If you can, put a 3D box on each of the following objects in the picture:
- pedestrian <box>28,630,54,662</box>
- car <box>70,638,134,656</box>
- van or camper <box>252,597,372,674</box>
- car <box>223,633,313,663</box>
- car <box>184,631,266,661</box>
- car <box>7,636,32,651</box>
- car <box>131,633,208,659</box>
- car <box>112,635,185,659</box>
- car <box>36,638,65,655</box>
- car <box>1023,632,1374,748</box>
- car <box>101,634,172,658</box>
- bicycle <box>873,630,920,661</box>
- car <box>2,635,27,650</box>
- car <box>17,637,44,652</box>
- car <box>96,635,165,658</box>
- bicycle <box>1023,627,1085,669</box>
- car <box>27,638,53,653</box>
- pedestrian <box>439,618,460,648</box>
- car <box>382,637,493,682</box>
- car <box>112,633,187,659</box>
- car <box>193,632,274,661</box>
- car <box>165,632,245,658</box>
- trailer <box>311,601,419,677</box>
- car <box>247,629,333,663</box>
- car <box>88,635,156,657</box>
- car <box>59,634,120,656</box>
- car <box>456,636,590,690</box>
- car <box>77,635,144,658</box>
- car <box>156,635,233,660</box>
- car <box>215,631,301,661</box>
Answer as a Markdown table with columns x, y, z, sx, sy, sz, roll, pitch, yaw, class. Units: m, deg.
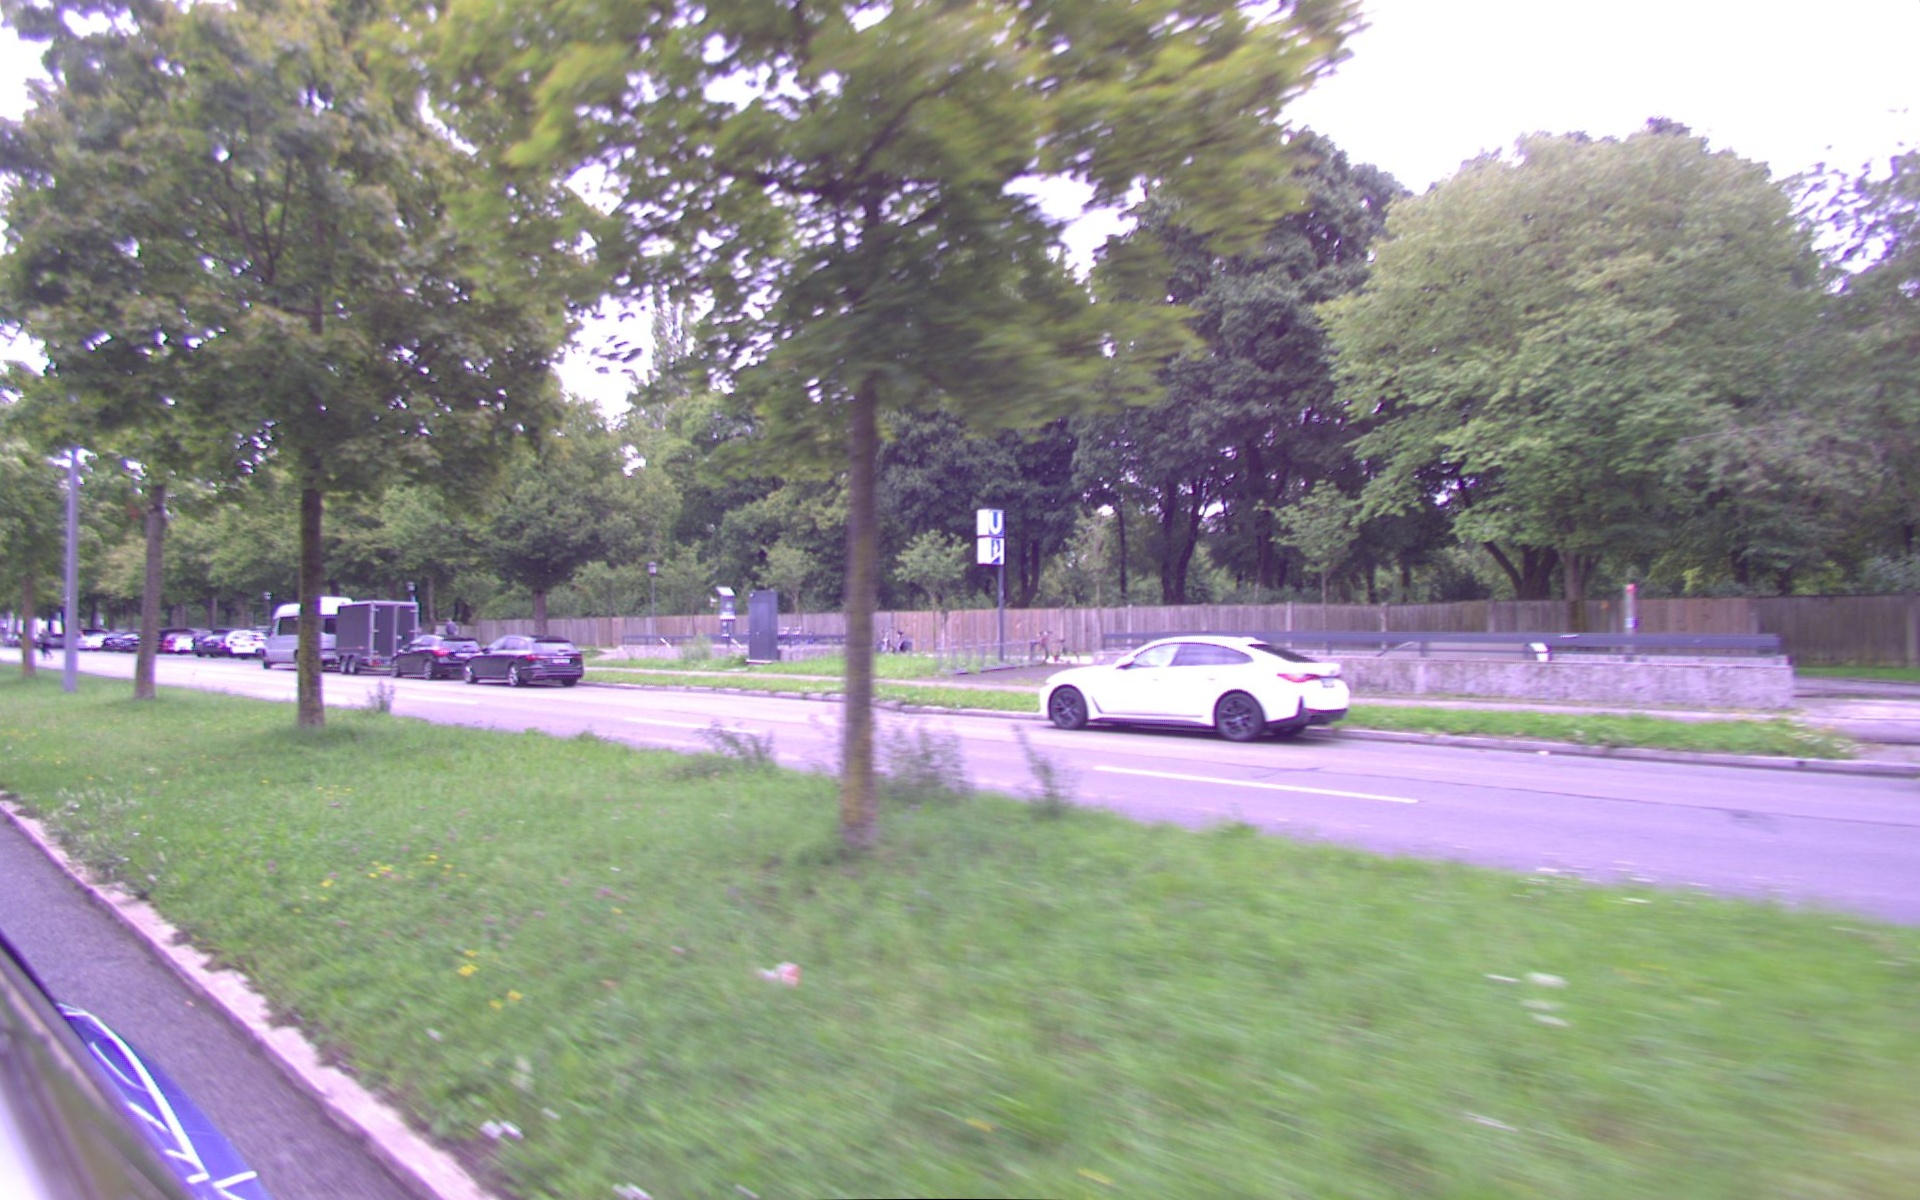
| x | y | z | sx | sy | sz | roll | pitch | yaw | class |
| --- | --- | --- | --- | --- | --- | --- | --- | --- | --- |
| -50.135 | 2.503 | 55.206 | 0.859 | 1.711 | 0.773 | 1 | -2 | -29 | pedestrian |
| -71.676 | 3.925 | 84.626 | 1.574 | 1.376 | 3.987 | -1 | 0 | 10 | car |
| -26.321 | 1.474 | 40.959 | 7.542 | 2.859 | 2.014 | -2 | -4 | 41 | van or camper |
| -38.619 | 2.641 | 56.583 | 1.780 | 1.449 | 4.316 | -1 | 0 | 6 | car |
| -45.784 | 2.861 | 63.130 | 1.783 | 1.599 | 3.985 | -2 | 0 | 12 | car |
| -101.039 | 4.657 | 108.711 | 4.171 | 1.454 | 1.864 | -1 | -1 | 45 | car |
| -55.290 | 3.219 | 70.864 | 1.873 | 1.569 | 3.984 | -2 | 0 | 13 | car |
| -60.015 | 3.452 | 74.901 | 1.870 | 1.569 | 3.990 | -2 | 0 | 8 | car |
| -85.802 | 4.331 | 95.449 | 4.171 | 1.454 | 1.864 | -1 | -1 | 45 | car |
| 3.440 | 1.258 | 15.282 | 4.871 | 1.484 | 1.838 | -2 | -4 | 40 | car |
| -62.335 | 3.481 | 76.690 | 1.870 | 1.569 | 3.990 | -2 | 0 | 8 | car |
| -2.102 | 1.497 | 33.590 | 0.432 | 0.937 | 1.801 | -2 | -1 | 40 | bicycle |
| -105.196 | 4.714 | 112.599 | 4.171 | 1.454 | 1.864 | -1 | -1 | 45 | car |
| -94.805 | 4.498 | 103.196 | 4.171 | 1.454 | 1.864 | -1 | -1 | 45 | car |
| -64.805 | 3.608 | 79.142 | 1.870 | 1.569 | 3.990 | -2 | 0 | 8 | car |
| 2.625 | 1.334 | 28.354 | 1.825 | 1.108 | 0.427 | -2 | -1 | 42 | bicycle |
| -90.447 | 4.446 | 99.472 | 4.171 | 1.381 | 1.718 | -1 | -1 | 45 | car |
| -30.913 | 2.015 | 61.285 | 0.872 | 1.781 | 0.761 | -2 | -3 | 37 | pedestrian |
| -17.171 | 1.915 | 33.195 | 4.236 | 1.394 | 1.781 | -2 | -4 | 41 | car |
| -57.636 | 3.270 | 72.063 | 1.870 | 1.569 | 3.990 | -2 | 0 | 8 | car |
| -43.652 | 2.783 | 60.912 | 1.779 | 1.497 | 3.993 | -2 | 0 | 6 | car |
| -50.255 | 3.002 | 67.478 | 1.873 | 1.474 | 3.984 | -2 | 0 | 13 | car |
| -21.775 | 1.432 | 36.962 | 4.656 | 2.610 | 1.996 | -2 | -4 | 41 | trailer |
| -36.112 | 2.462 | 54.672 | 1.779 | 1.635 | 3.994 | -1 | -1 | 5 | car |
| -67.121 | 3.661 | 81.158 | 1.870 | 1.569 | 3.990 | -2 | 0 | 8 | car |
| -76.582 | 3.919 | 89.074 | 1.760 | 1.741 | 3.992 | -1 | -1 | 6 | car |
| -12.534 | 1.763 | 28.917 | 4.429 | 1.436 | 1.781 | -2 | -4 | 41 | car |
| -69.201 | 3.768 | 82.513 | 1.870 | 1.569 | 3.990 | -2 | 0 | 8 | car |
| -52.515 | 3.242 | 69.514 | 1.723 | 1.466 | 3.984 | -2 | 0 | 13 | car |
| -41.070 | 2.655 | 59.351 | 1.780 | 1.585 | 4.316 | -1 | 0 | 6 | car |
